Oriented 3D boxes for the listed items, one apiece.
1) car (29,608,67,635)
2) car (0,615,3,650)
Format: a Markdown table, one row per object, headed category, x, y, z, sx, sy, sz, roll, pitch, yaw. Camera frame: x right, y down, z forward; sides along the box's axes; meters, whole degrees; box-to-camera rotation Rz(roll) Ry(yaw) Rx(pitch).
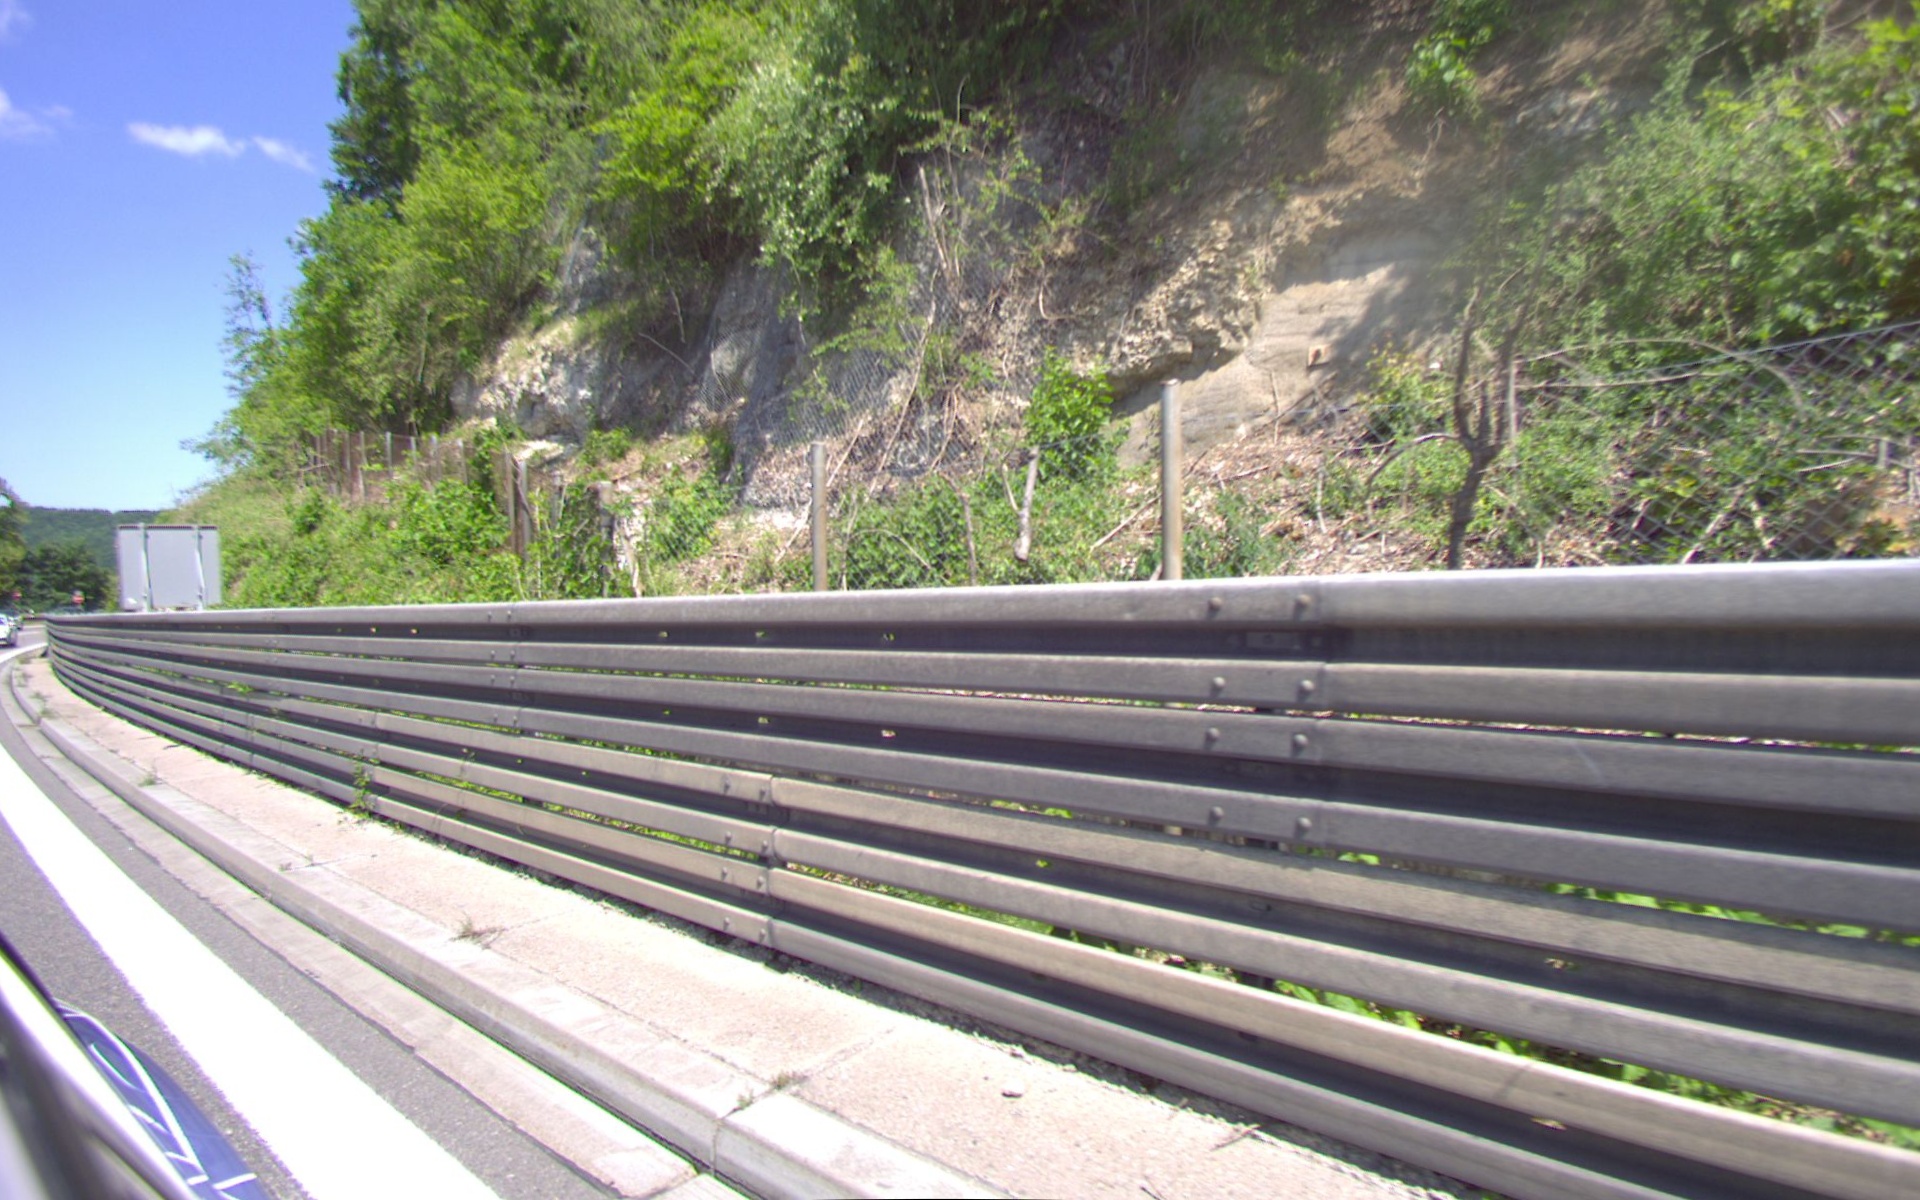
| category | x | y | z | sx | sy | sz | roll | pitch | yaw |
| --- | --- | --- | --- | --- | --- | --- | --- | --- | --- |
| car | -72.629 | 1.719 | 80.645 | 1.968 | 2.029 | 4.008 | -1 | 0 | -39 |
| car | -41.938 | 1.379 | 43.023 | 4.045 | 1.451 | 1.680 | -1 | 0 | 44 |
